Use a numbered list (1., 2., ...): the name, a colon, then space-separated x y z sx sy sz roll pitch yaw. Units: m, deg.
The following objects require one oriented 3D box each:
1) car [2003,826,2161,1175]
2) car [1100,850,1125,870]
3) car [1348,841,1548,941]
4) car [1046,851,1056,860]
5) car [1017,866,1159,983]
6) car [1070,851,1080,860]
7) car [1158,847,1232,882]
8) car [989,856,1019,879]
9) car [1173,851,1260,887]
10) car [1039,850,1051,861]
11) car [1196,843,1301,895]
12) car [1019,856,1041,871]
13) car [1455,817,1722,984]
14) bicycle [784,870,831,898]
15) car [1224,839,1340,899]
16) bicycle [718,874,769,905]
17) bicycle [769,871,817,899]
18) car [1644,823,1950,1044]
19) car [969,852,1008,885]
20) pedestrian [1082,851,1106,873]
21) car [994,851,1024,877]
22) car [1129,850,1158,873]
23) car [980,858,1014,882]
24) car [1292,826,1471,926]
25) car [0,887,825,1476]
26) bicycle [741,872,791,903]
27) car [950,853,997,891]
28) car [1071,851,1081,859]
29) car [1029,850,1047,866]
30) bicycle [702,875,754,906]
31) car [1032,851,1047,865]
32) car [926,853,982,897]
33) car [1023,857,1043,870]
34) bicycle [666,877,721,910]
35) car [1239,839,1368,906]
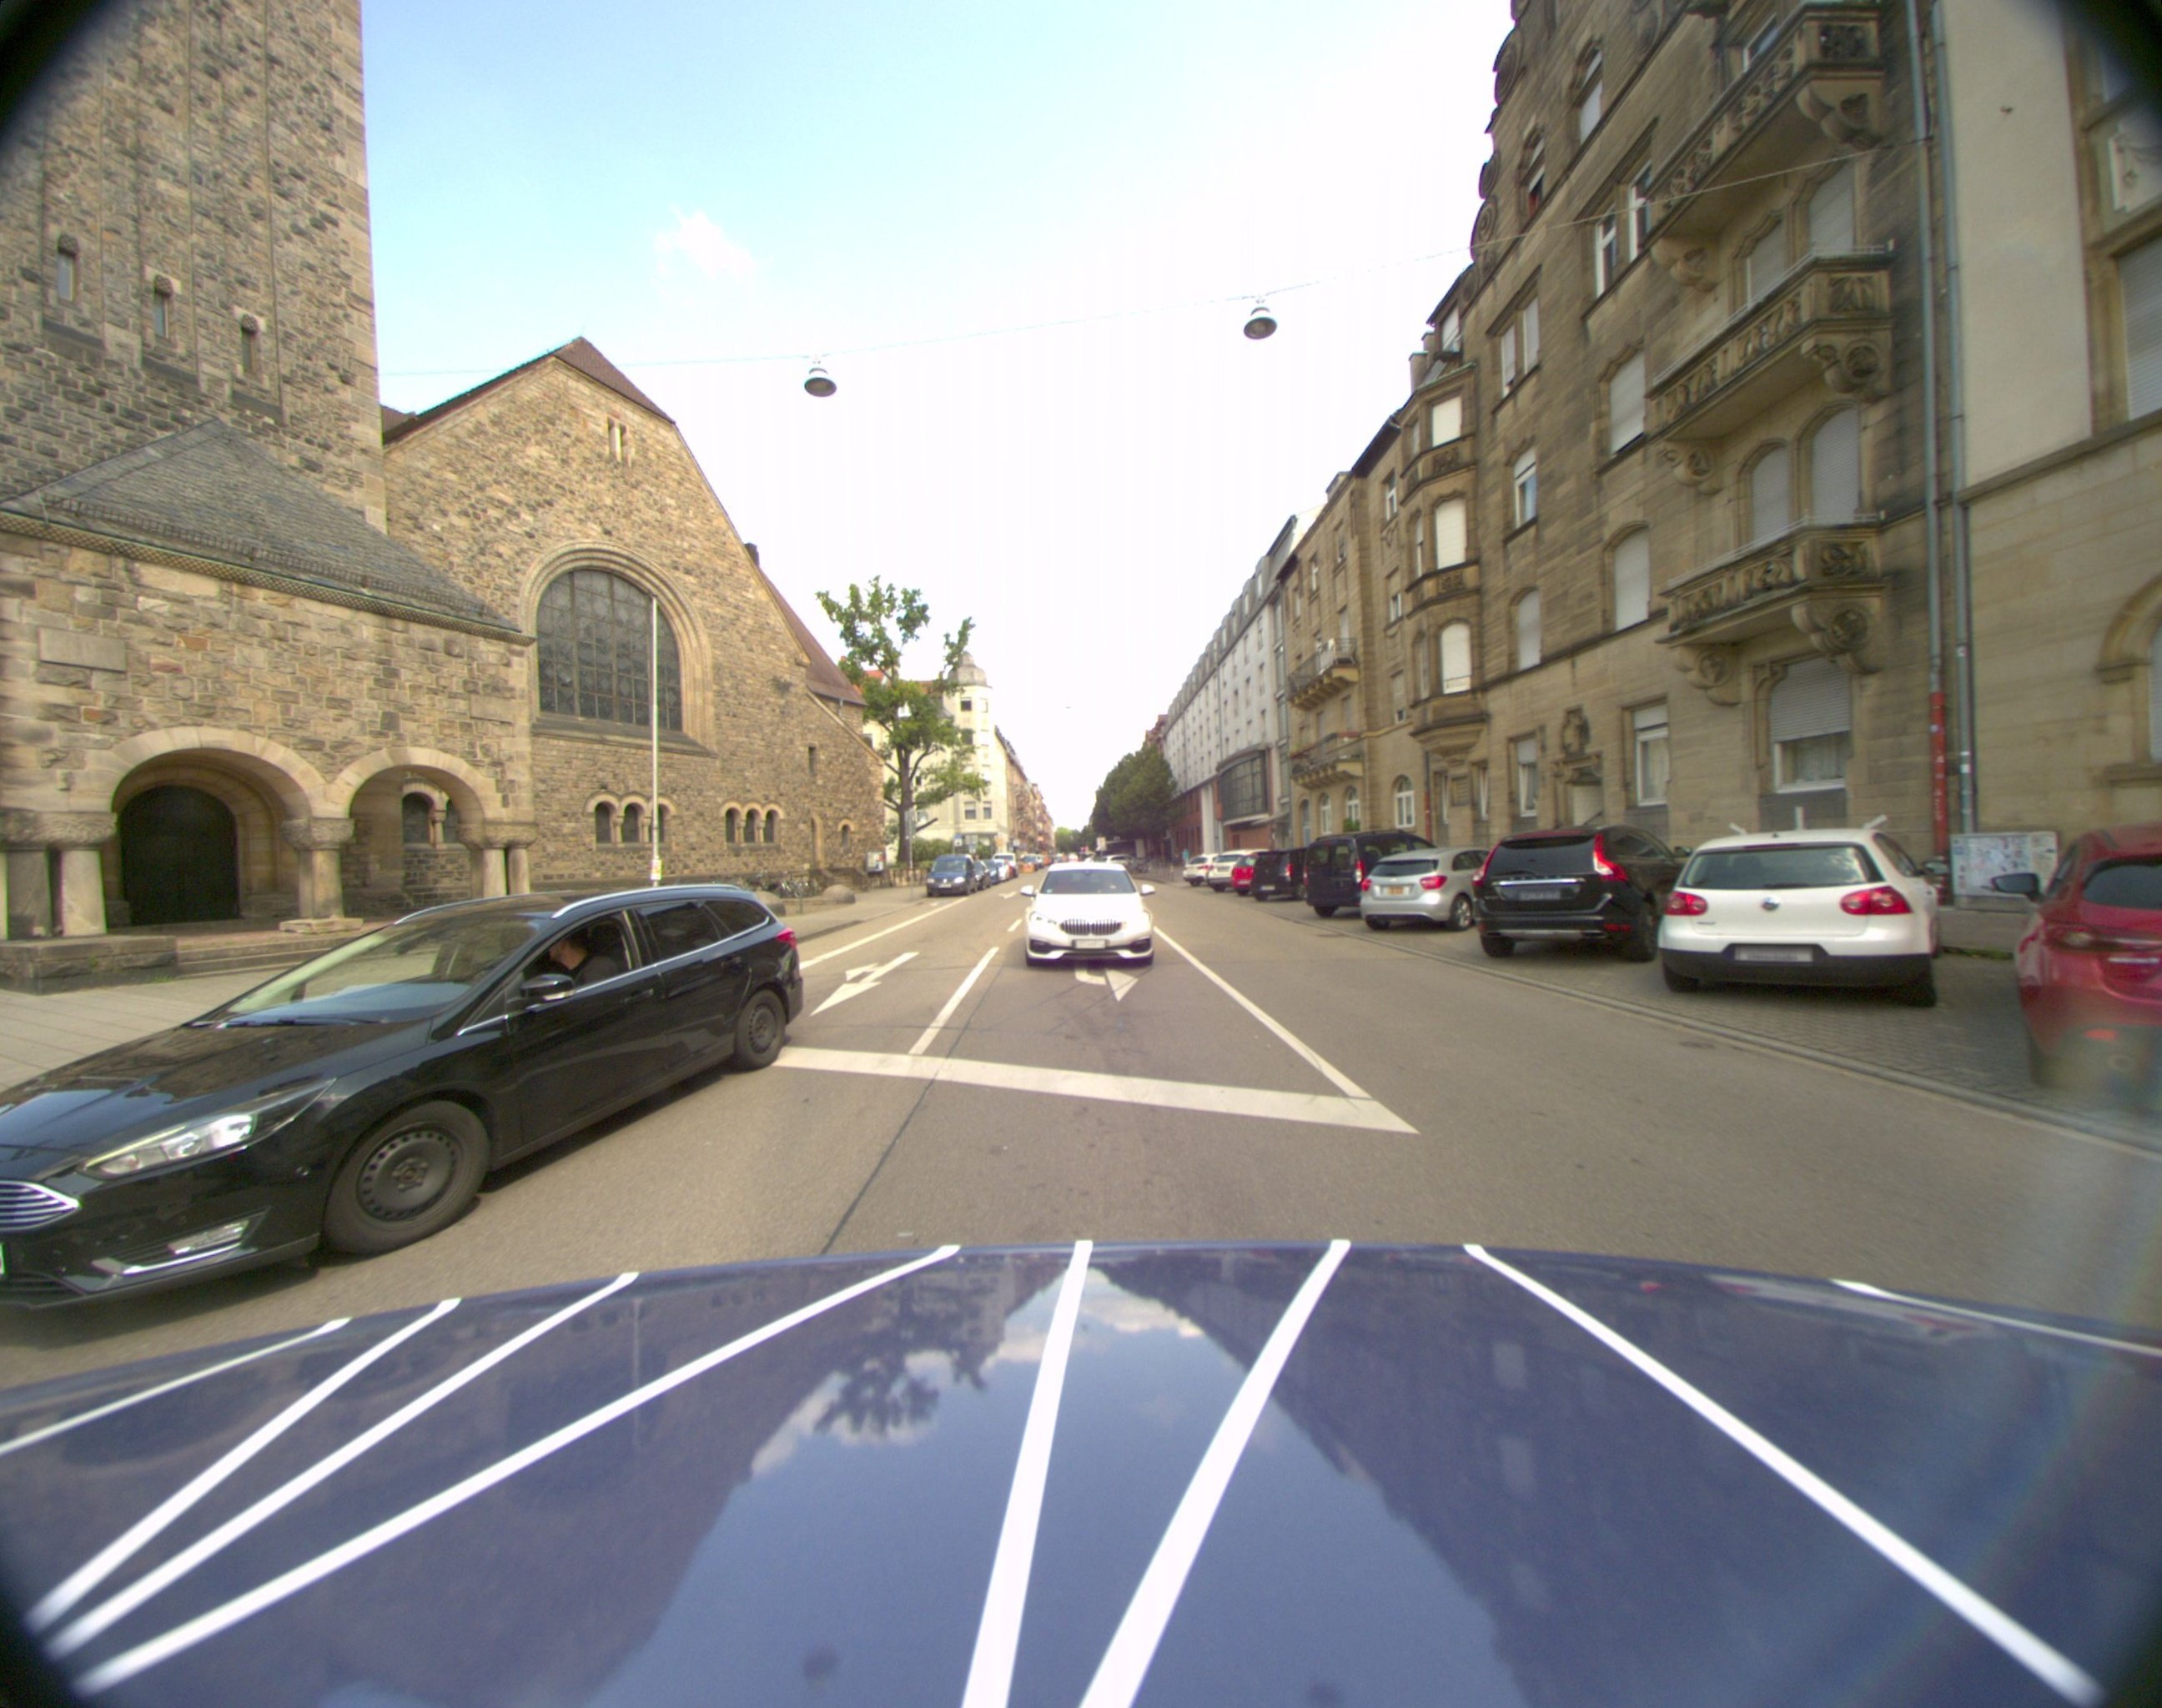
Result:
1. car: 6.907 0.630 4.410 4.006 1.448 1.808 -5 0 -38
2. car: 2.655 0.492 64.793 1.891 1.641 3.890 -2 0 1
3. car: 6.985 0.646 14.320 3.961 1.421 1.727 -5 -1 -38
4. car: -6.264 0.342 158.788 1.809 1.756 4.186 -2 0 1
5. car: 0.126 0.956 12.100 1.826 1.439 4.386 -1 0 1
6. car: -1.125 0.316 140.162 1.809 1.590 4.186 -2 0 1
7. car: 6.283 0.558 41.755 3.961 1.576 1.727 -4 -1 -39
8. car: -5.560 0.953 55.134 1.683 1.487 3.890 -2 0 1
9. car: 6.284 0.666 34.974 3.962 1.465 1.727 -2 0 -39
10. car: -6.343 0.309 134.690 1.809 1.901 4.186 -2 0 1
11. car: 6.488 0.546 29.256 3.960 1.576 1.727 -6 0 -39
12. car: -5.198 0.955 77.940 1.809 1.360 4.186 -2 0 1
13. car: 6.920 0.503 10.216 3.961 1.679 1.799 -5 0 -39
14. bicycle: -11.691 1.264 32.458 1.935 1.106 0.587 1 2 21
15. car: 6.933 0.486 25.994 3.960 1.576 1.727 -7 1 -39
16. bicycle: -13.065 1.351 29.391 1.935 1.106 0.587 1 2 21
17. bicycle: -12.027 1.285 31.726 1.935 1.106 0.587 1 2 21
18. car: 7.204 0.593 7.511 3.961 1.448 1.727 -6 0 -41
19. car: -5.451 0.834 45.138 1.683 1.780 4.000 -2 0 1
20. pedestrian: 1.086 0.629 62.345 1.316 1.747 1.370 -3 1 -35
21. car: -5.621 0.770 59.617 1.844 1.927 4.186 -2 0 1
22. car: 4.663 0.549 57.373 1.891 1.556 3.890 -2 0 1
23. car: -5.477 1.014 49.869 1.683 1.438 3.798 -2 0 1
24. car: 6.874 0.446 17.273 3.960 1.857 1.727 -5 1 -34
25. car: -3.532 1.121 4.562 1.782 1.525 4.389 -4 0 10
26. bicycle: -12.553 1.322 30.259 1.935 1.106 0.587 1 2 21
27. car: -5.407 0.875 38.655 1.683 1.780 4.000 -2 0 1
28. car: -0.971 0.176 152.217 1.809 1.590 4.186 -2 0 1
29. car: -5.253 0.481 92.301 1.809 1.756 4.186 -2 0 1
30. bicycle: -13.339 1.369 28.727 1.935 1.106 0.587 1 2 21
31. car: -5.737 0.527 105.413 1.809 1.756 4.186 -2 0 1
32. car: -5.545 0.881 33.603 1.683 1.780 4.145 -2 0 1
33. car: -5.204 1.008 83.429 1.809 1.360 4.186 -2 0 1
34. bicycle: -13.892 1.407 27.249 1.935 1.106 0.587 1 2 21
35. car: 6.825 0.537 23.169 3.960 1.576 1.727 -6 1 -39
